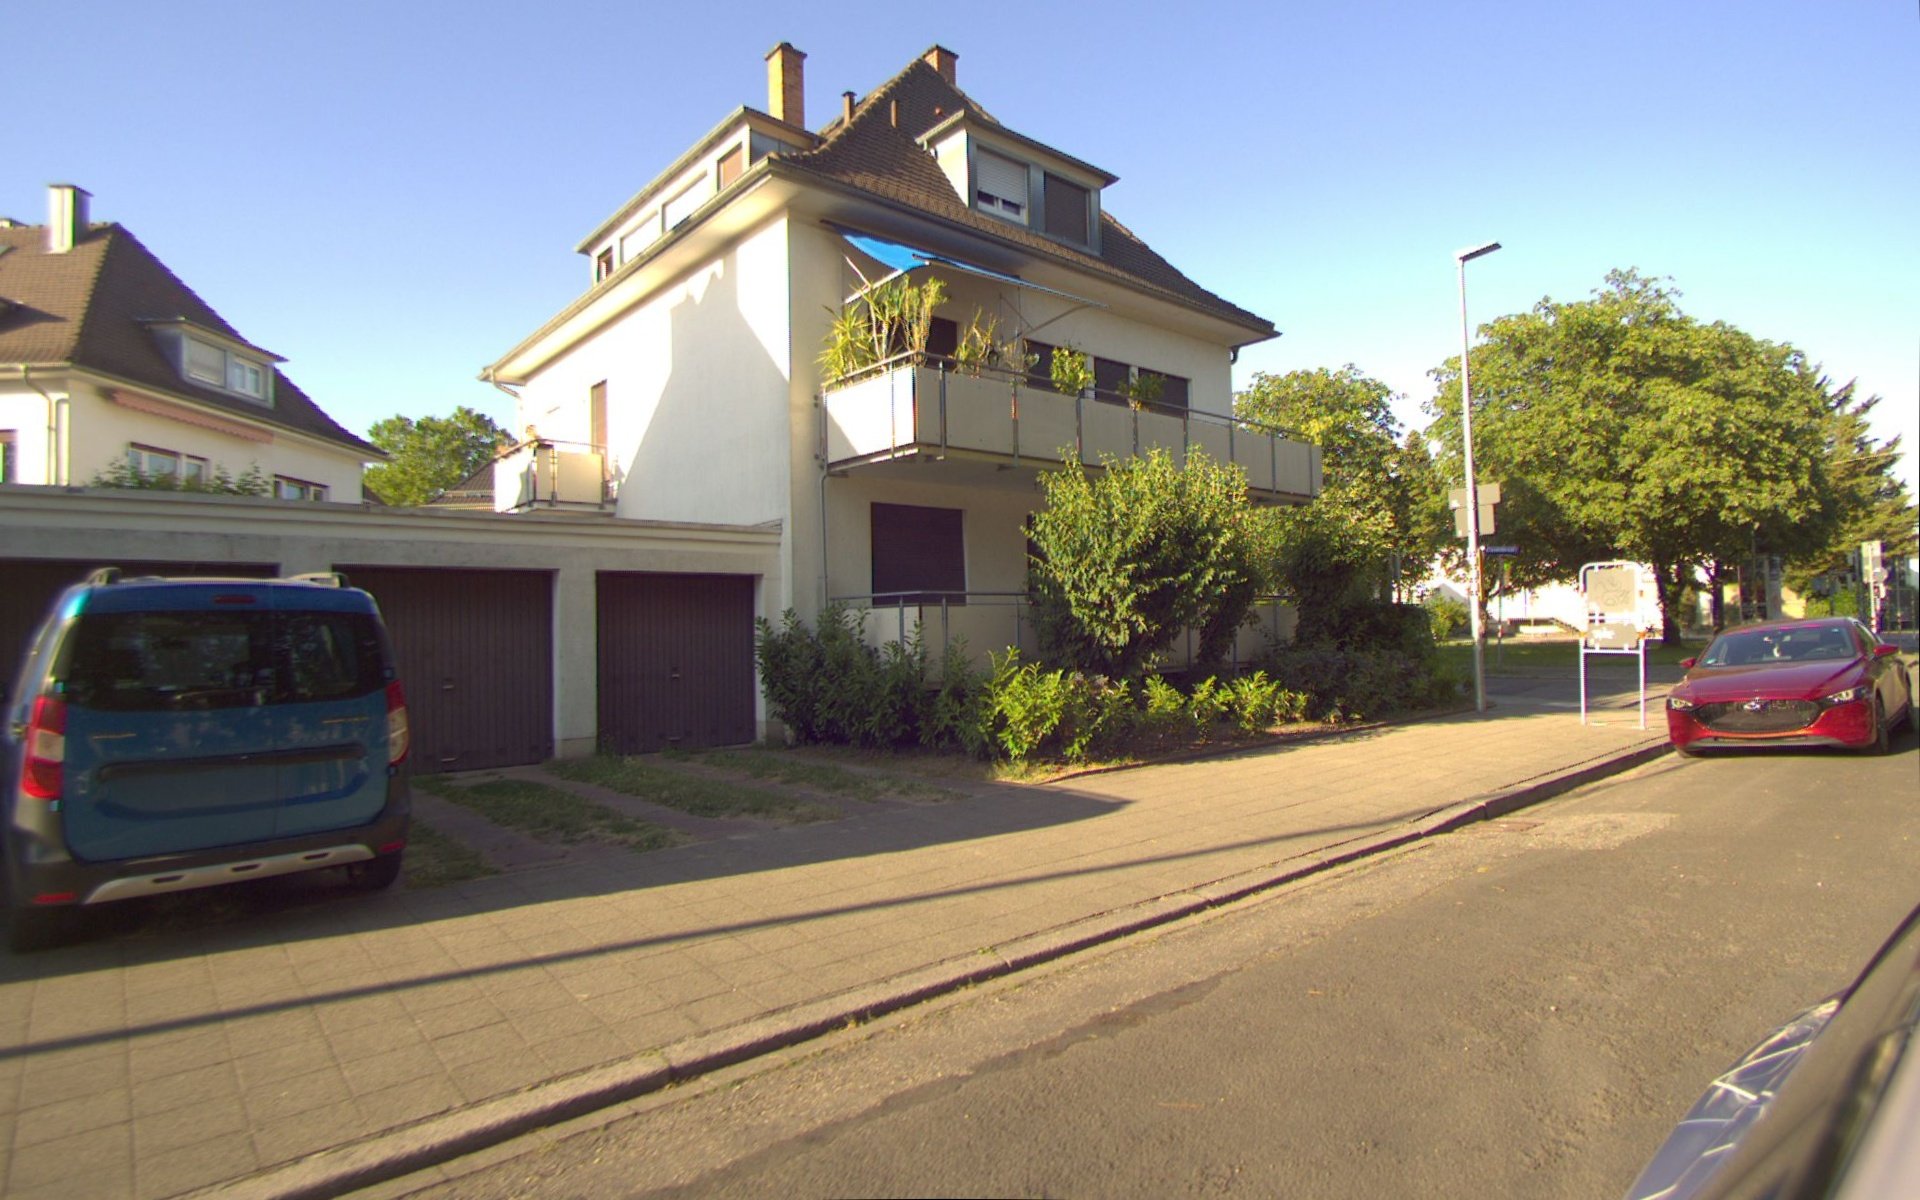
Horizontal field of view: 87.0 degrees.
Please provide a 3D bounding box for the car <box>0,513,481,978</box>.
[{"bbox_3d":[-4.737,0.686,6.392,1.967,1.953,3.989,1,-3,-44],"label":"car"}]

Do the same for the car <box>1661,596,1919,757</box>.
[{"bbox_3d":[9.745,0.753,11.622,4.151,1.514,1.822,0,-2,-42],"label":"car"}]
